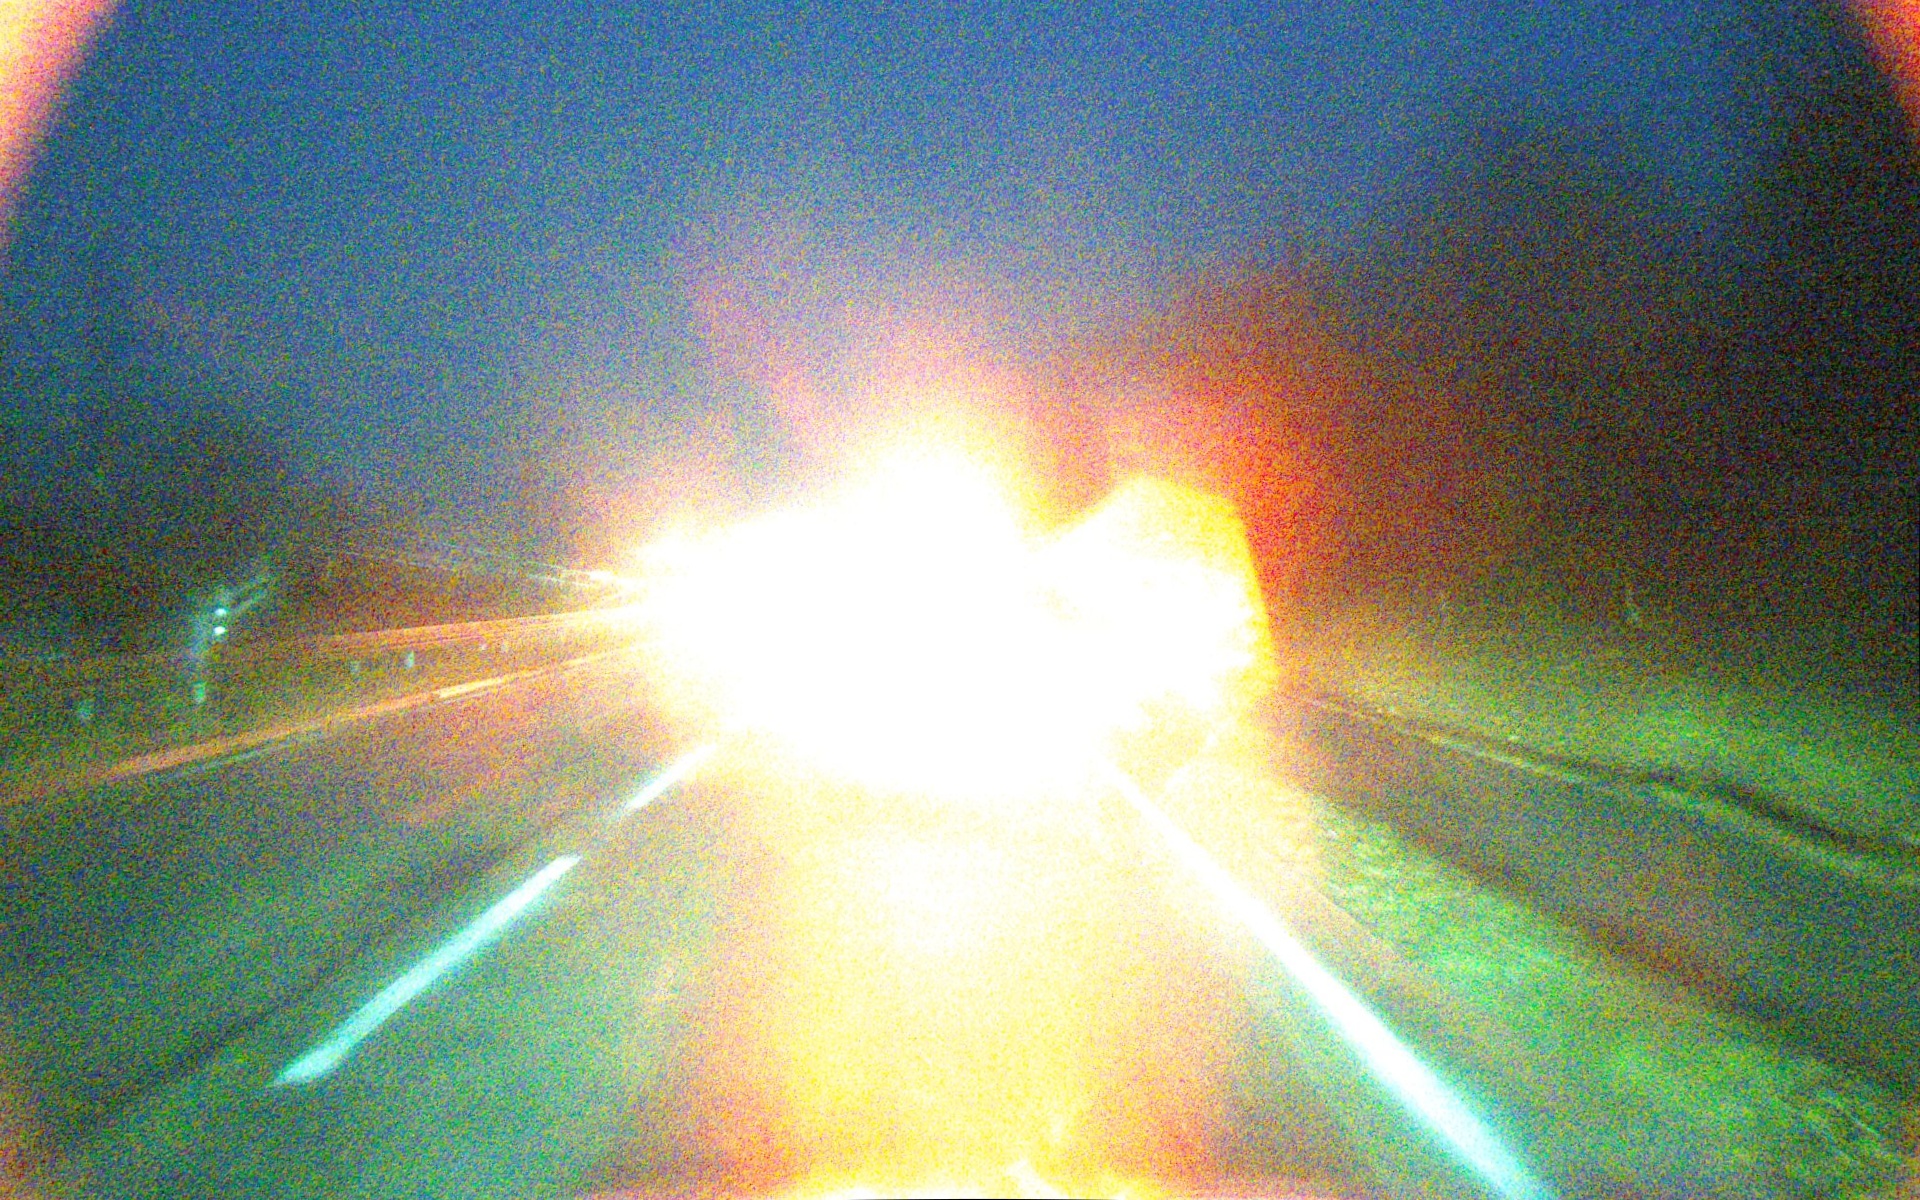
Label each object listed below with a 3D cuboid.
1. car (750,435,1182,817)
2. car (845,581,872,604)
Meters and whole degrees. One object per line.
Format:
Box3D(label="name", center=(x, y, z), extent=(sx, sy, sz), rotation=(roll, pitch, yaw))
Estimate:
Box3D(label="car", center=(-0.029, 0.125, 13.273), extent=(2.660, 2.348, 6.099), rotation=(0, 1, -1))
Box3D(label="car", center=(-6.835, -0.518, 111.724), extent=(1.512, 1.537, 3.880), rotation=(1, 0, 1))
